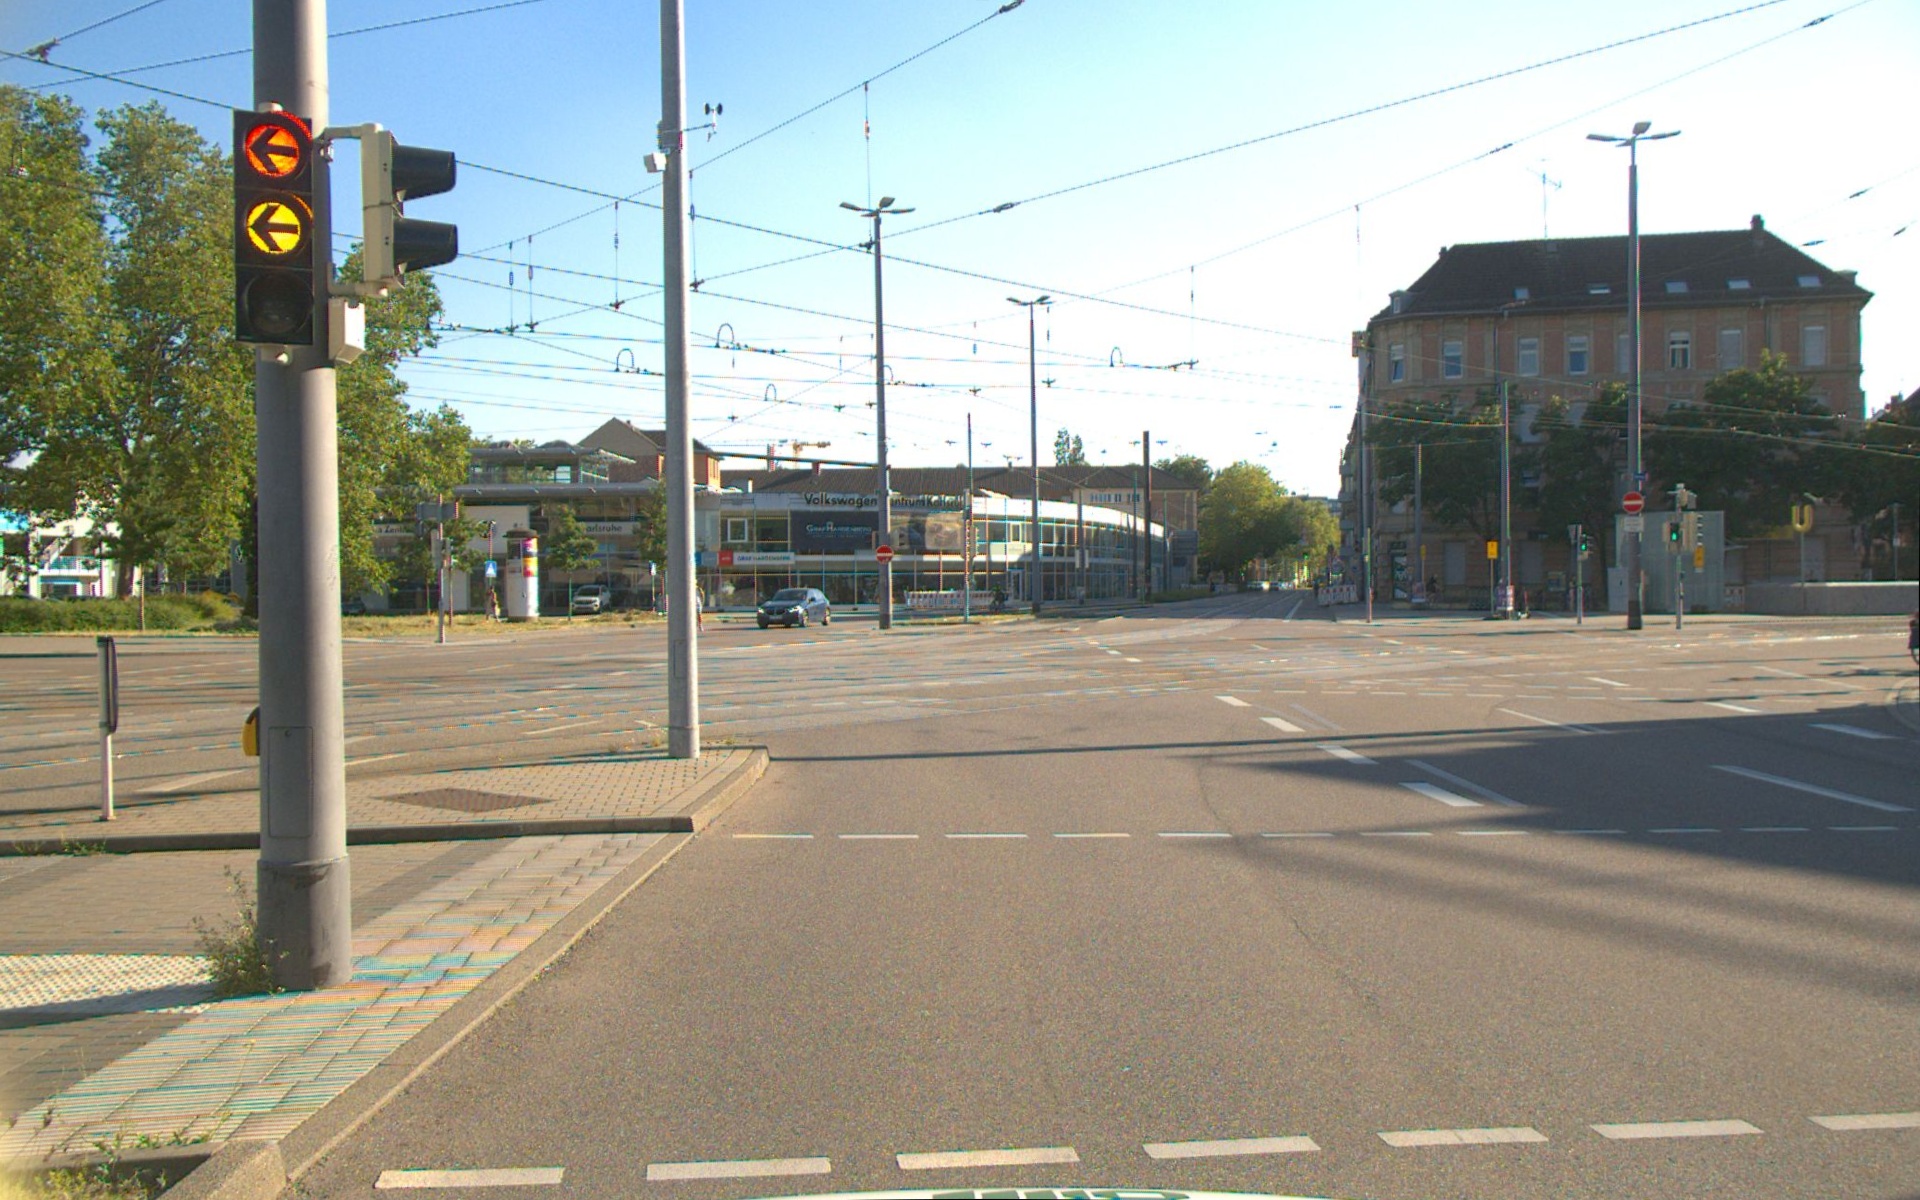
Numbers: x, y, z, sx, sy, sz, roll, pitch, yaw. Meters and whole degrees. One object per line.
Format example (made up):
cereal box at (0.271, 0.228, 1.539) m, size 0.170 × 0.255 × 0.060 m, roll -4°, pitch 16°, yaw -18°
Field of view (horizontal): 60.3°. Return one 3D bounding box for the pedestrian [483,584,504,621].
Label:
pedestrian at (-22.101, 0.113, 78.376) m, size 0.839 × 1.723 × 0.496 m, roll 1°, pitch -1°, yaw -3°

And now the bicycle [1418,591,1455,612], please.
bicycle at (22.819, 0.055, 79.269) m, size 1.566 × 0.969 × 0.657 m, roll 1°, pitch 0°, yaw 33°

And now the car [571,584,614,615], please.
car at (-21.975, -0.009, 99.038) m, size 1.954 × 1.780 × 3.997 m, roll 1°, pitch 0°, yaw -4°

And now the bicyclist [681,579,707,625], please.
bicyclist at (-9.605, 0.076, 59.714) m, size 0.585 × 1.644 × 0.823 m, roll 1°, pitch -1°, yaw 17°

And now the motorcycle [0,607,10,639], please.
motorcycle at (-28.922, 0.667, 48.501) m, size 1.748 × 0.930 × 0.675 m, roll 1°, pitch 0°, yaw -21°

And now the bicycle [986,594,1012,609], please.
bicycle at (2.340, 0.083, 99.459) m, size 0.626 × 0.885 × 2.231 m, roll 1°, pitch 0°, yaw 29°

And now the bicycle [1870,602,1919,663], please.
bicycle at (17.589, 0.613, 30.063) m, size 0.524 × 1.067 × 2.316 m, roll 1°, pitch 1°, yaw -9°

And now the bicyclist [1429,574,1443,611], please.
bicyclist at (22.826, -0.359, 79.241) m, size 0.505 × 1.730 × 0.519 m, roll 1°, pitch -1°, yaw 33°

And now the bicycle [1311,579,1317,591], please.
bicycle at (28.353, -1.182, 132.448) m, size 0.401 × 0.958 × 1.847 m, roll 1°, pitch 0°, yaw 12°

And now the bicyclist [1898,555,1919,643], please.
bicyclist at (17.604, -0.018, 30.039) m, size 0.505 × 1.584 × 0.945 m, roll 1°, pitch 0°, yaw -10°

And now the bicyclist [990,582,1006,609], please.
bicyclist at (2.280, -0.284, 99.344) m, size 0.641 × 1.600 × 0.921 m, roll 1°, pitch -1°, yaw 28°

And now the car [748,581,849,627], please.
car at (-5.972, 0.166, 61.647) m, size 1.954 × 1.613 × 3.996 m, roll 1°, pitch 0°, yaw 26°

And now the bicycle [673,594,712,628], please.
bicycle at (-9.639, 0.395, 59.596) m, size 0.599 × 1.210 × 1.870 m, roll 1°, pitch 0°, yaw 17°

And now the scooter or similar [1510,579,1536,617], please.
scooter or similar at (21.588, -0.073, 63.446) m, size 0.769 × 1.400 × 1.910 m, roll 1°, pitch 0°, yaw 13°

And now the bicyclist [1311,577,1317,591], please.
bicyclist at (28.347, -1.281, 132.442) m, size 0.399 × 1.136 × 0.399 m, roll 1°, pitch -1°, yaw 11°
